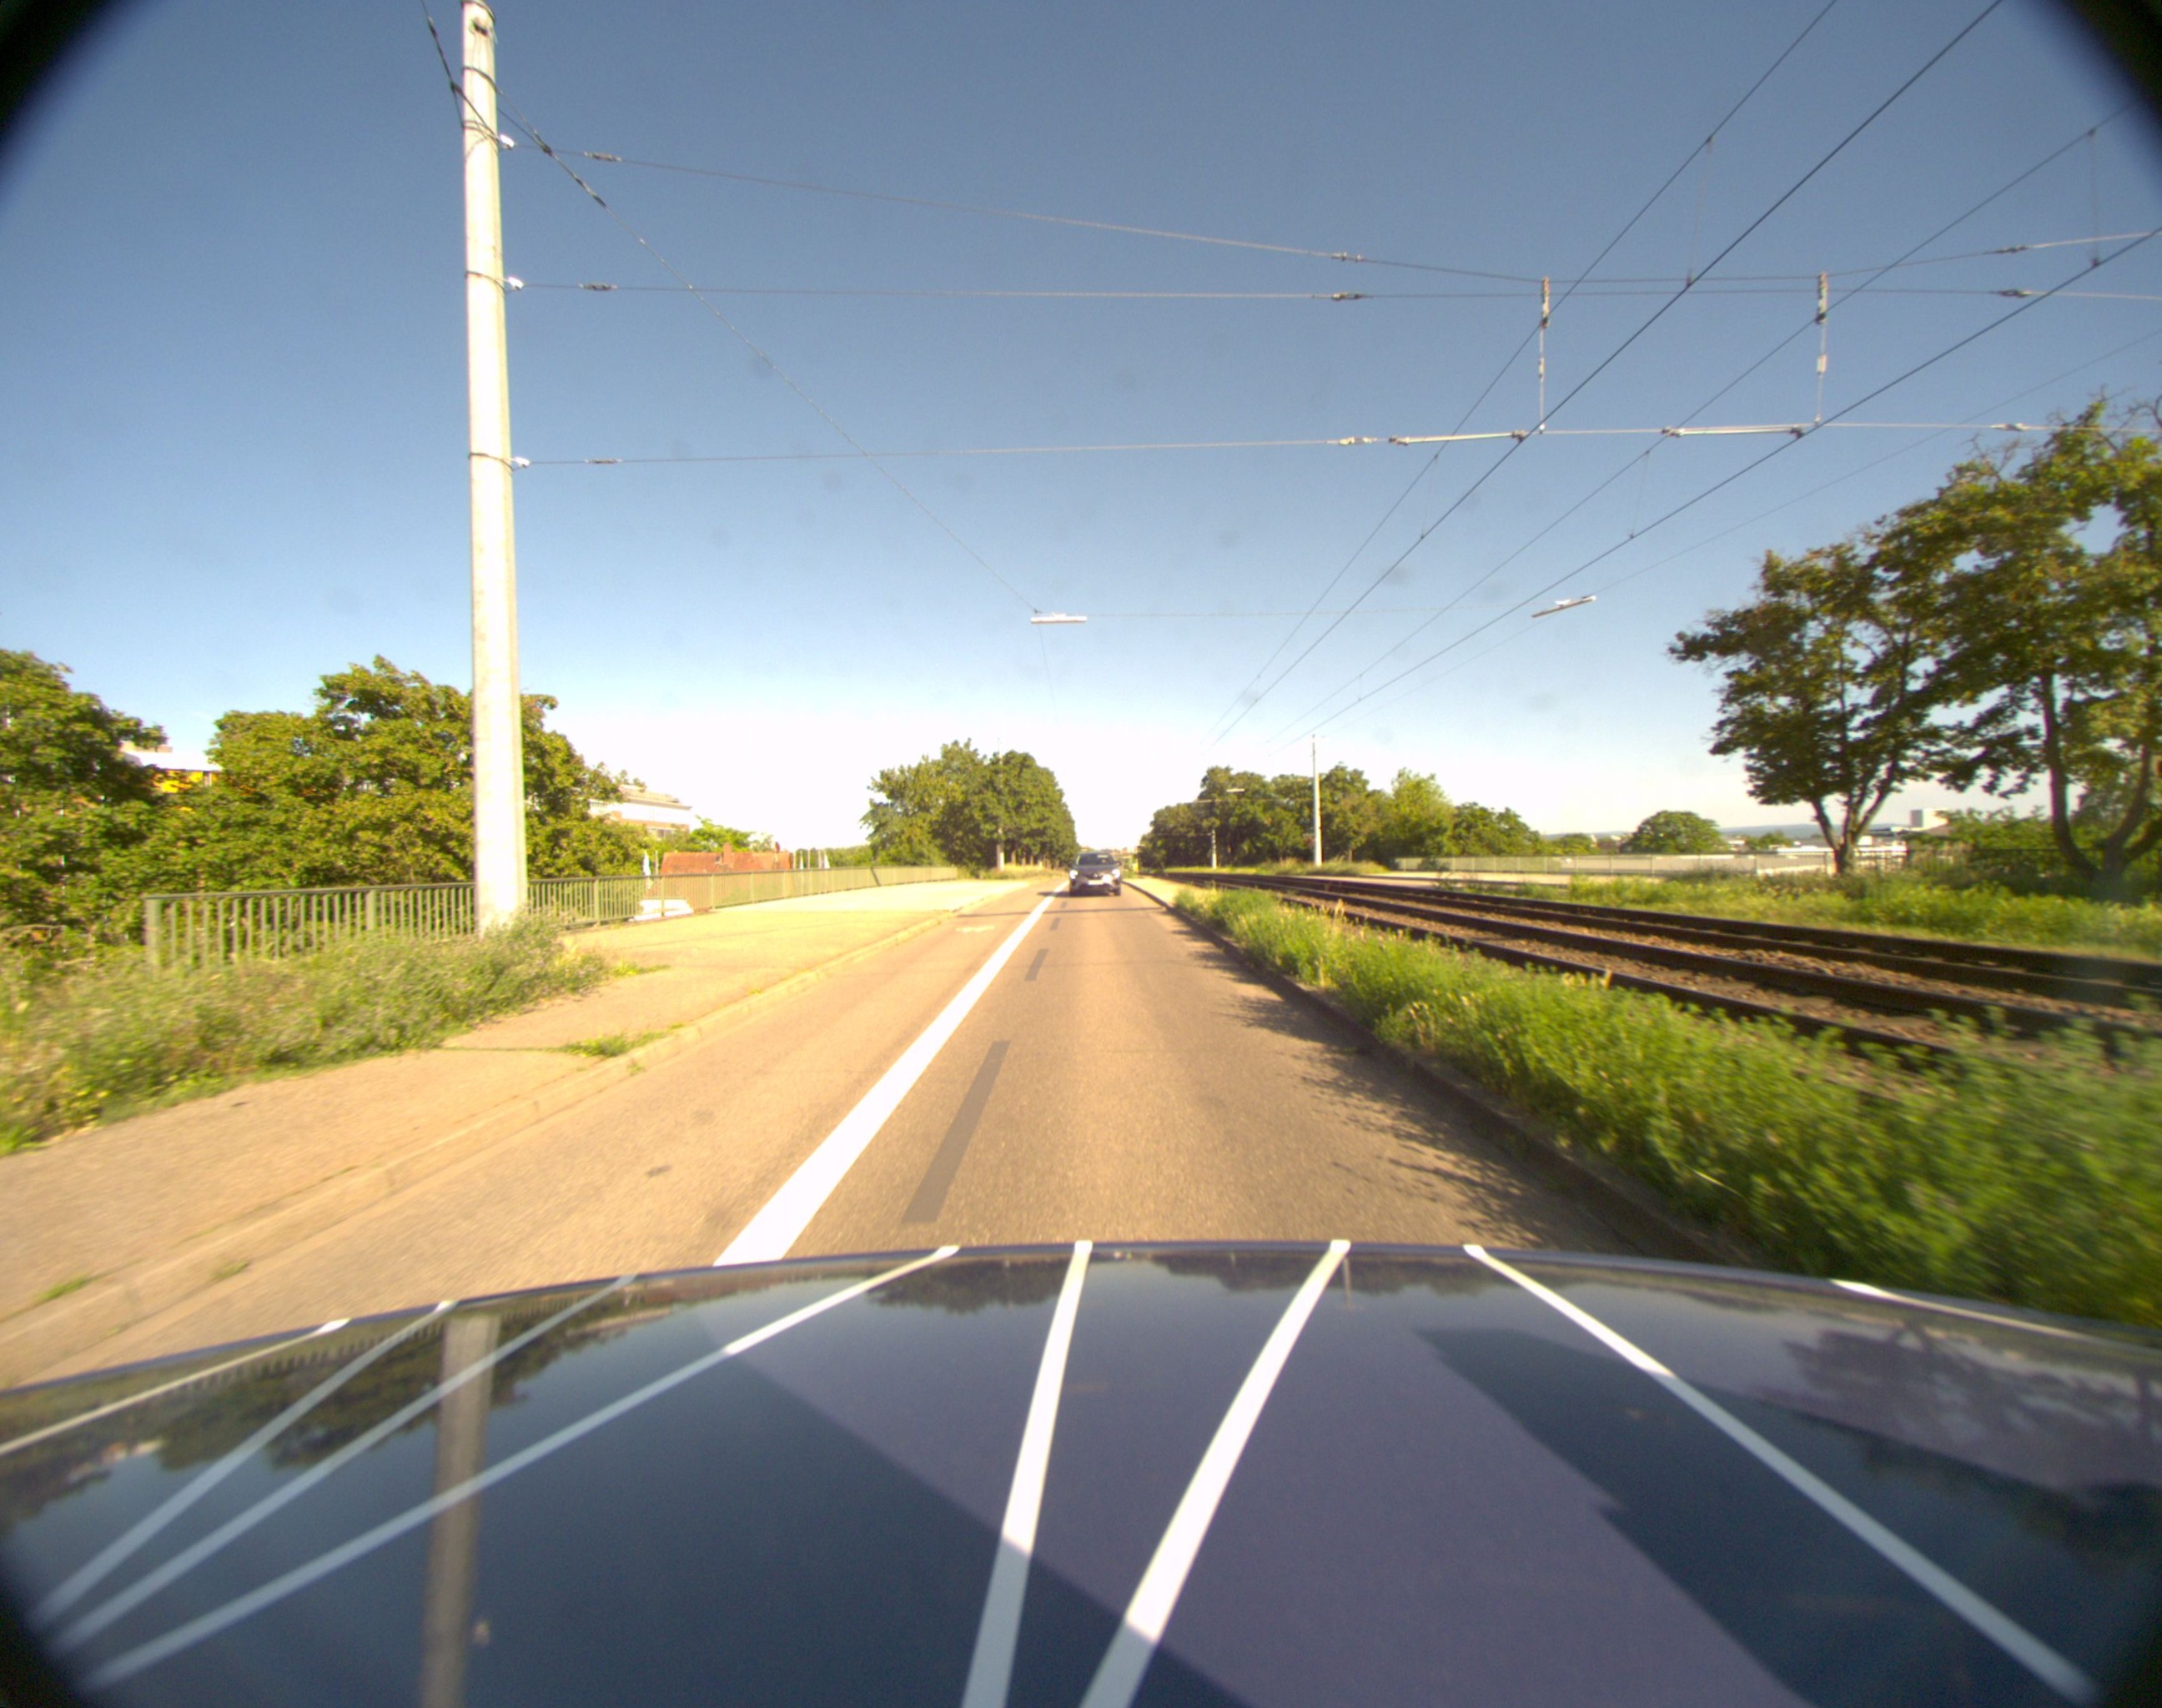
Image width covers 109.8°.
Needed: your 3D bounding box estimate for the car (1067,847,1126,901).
[{"bbox_3d":[0.539,0.669,26.606,1.814,1.625,4.711,-3,-1,1],"label":"car"}]
